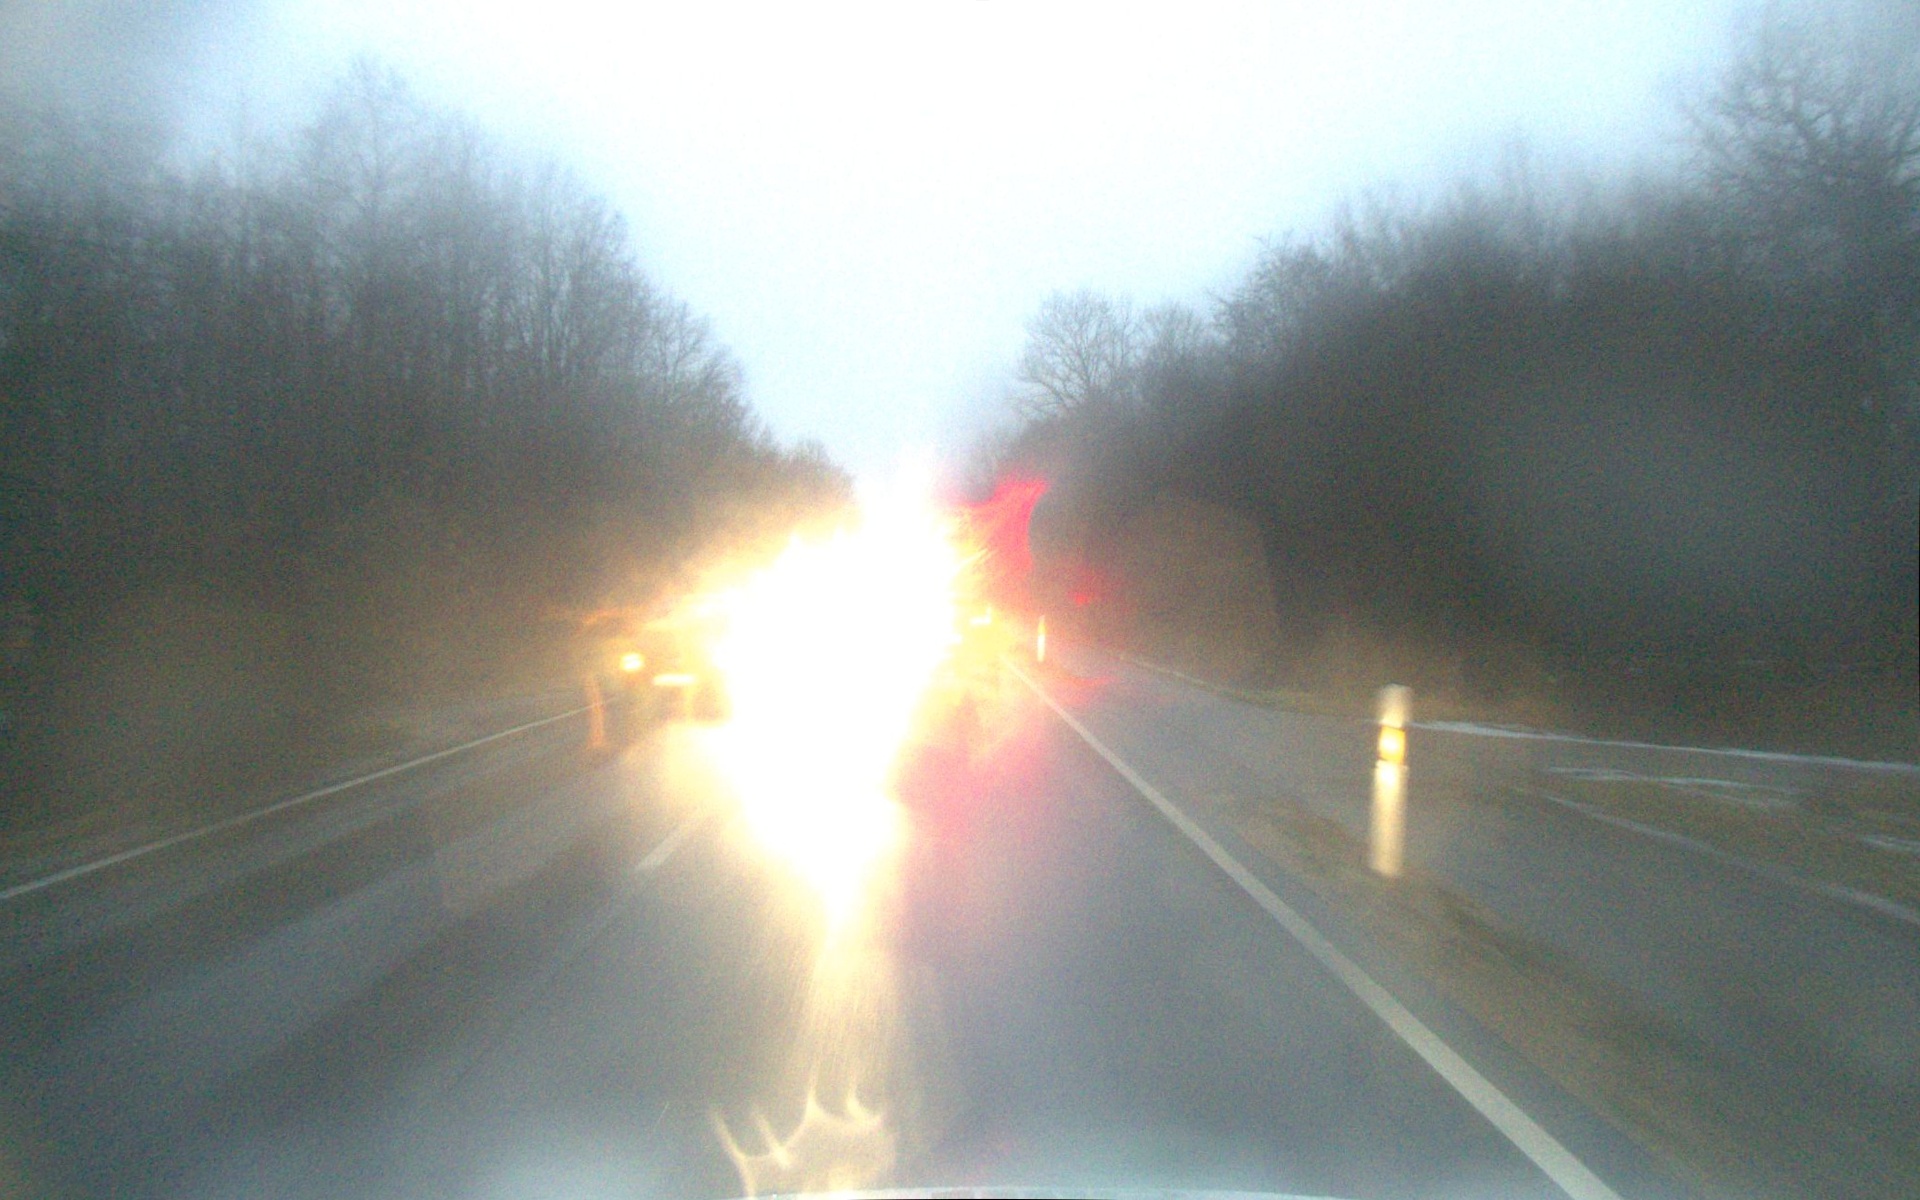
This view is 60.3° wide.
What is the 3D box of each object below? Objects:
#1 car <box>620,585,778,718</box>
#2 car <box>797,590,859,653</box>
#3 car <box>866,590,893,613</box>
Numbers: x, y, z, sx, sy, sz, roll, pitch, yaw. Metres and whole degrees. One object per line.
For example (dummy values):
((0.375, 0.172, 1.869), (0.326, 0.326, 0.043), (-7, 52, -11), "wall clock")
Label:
((-3.487, 0.653, 22.674), (1.549, 1.577, 3.999), (-3, 0, -2), "car")
((-4.185, 0.664, 53.025), (1.671, 1.854, 4.284), (-2, 0, -1), "car")
((-5.089, 0.064, 104.986), (1.586, 1.413, 4.070), (-1, 0, -2), "car")
